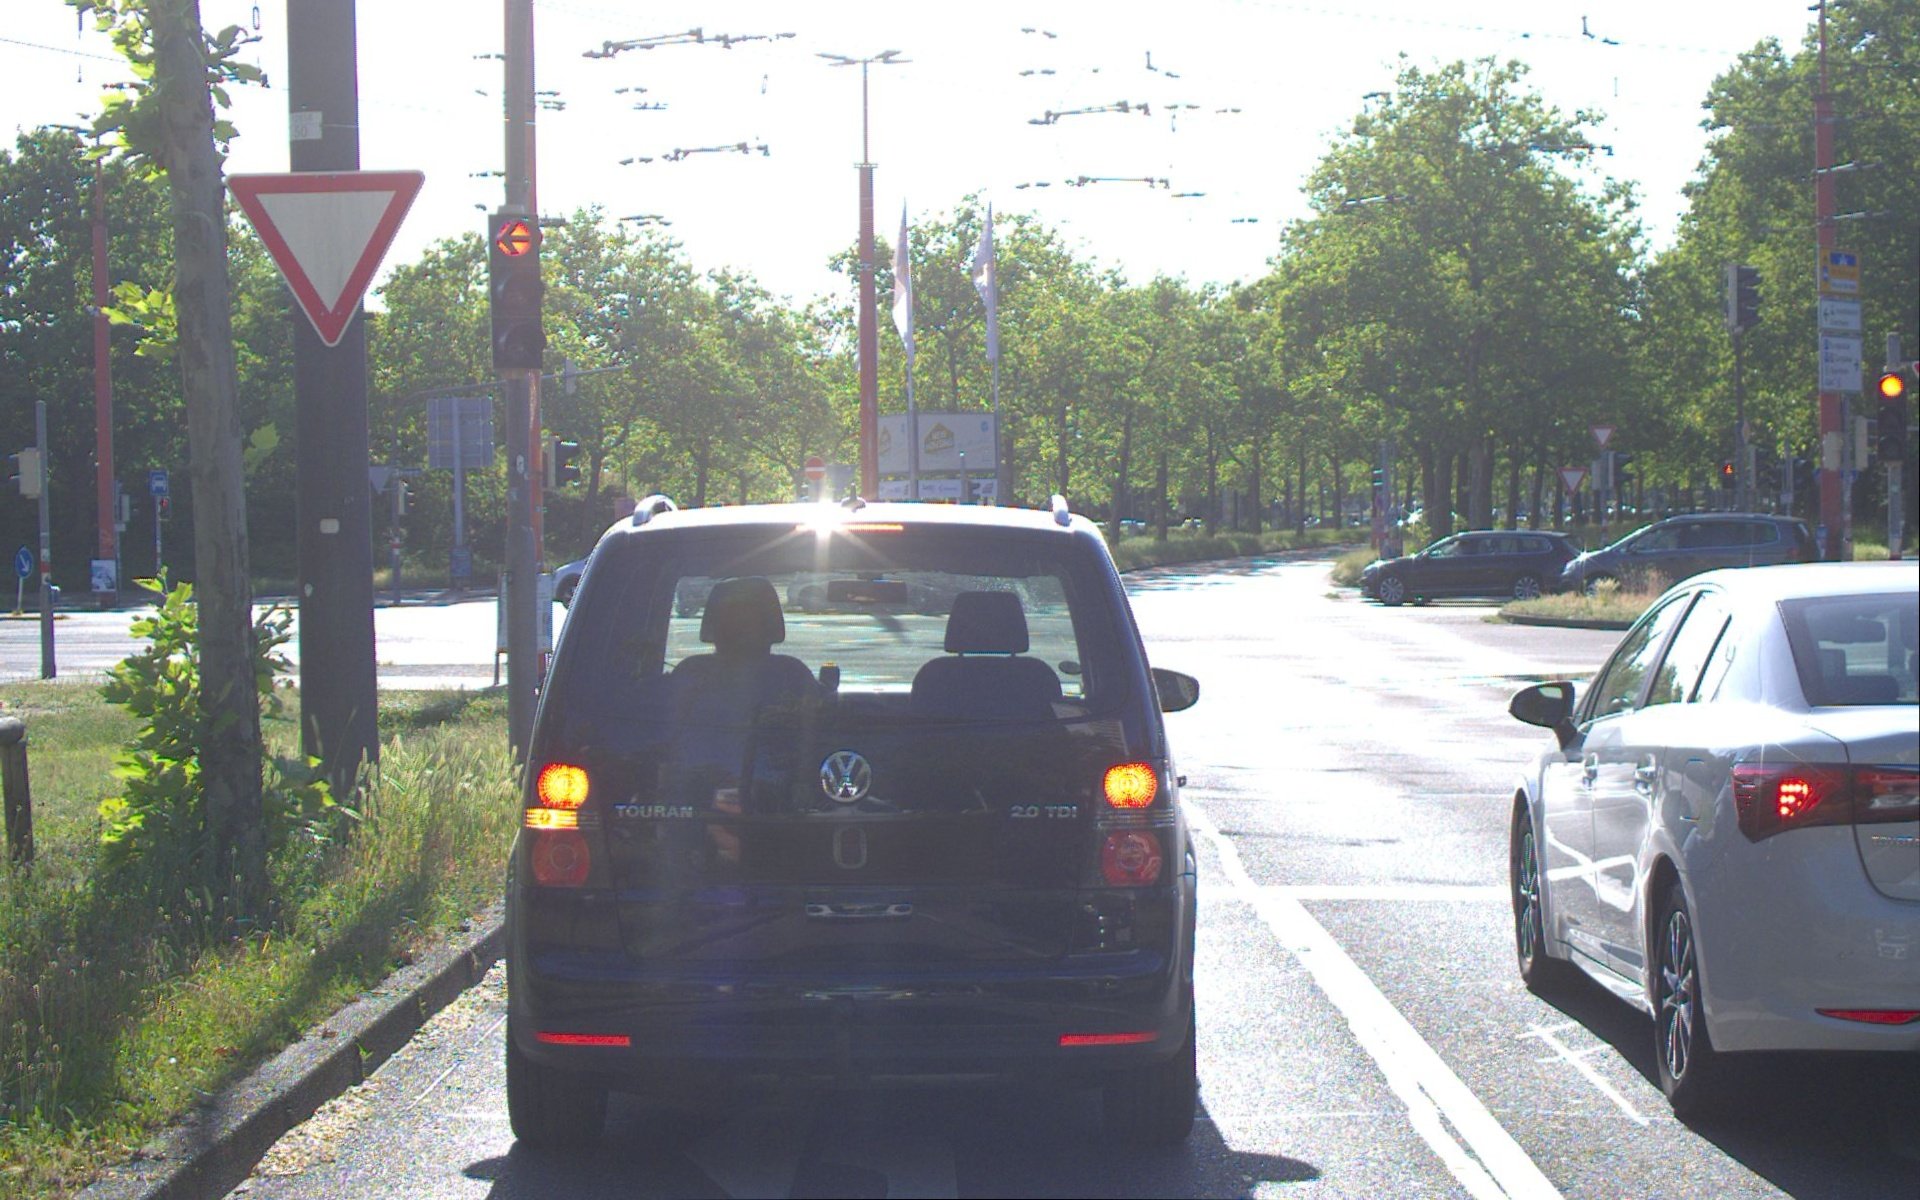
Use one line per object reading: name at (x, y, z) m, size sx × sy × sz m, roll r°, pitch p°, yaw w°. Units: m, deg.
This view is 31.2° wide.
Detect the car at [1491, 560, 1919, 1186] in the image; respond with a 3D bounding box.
car at (2.720, 0.619, 10.105) m, size 1.720 × 1.433 × 4.198 m, roll 1°, pitch 1°, yaw 1°

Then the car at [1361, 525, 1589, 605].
car at (10.284, -0.698, 68.710) m, size 4.127 × 1.505 × 1.820 m, roll 1°, pitch 1°, yaw 26°

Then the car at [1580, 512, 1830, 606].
car at (13.739, -0.758, 63.425) m, size 4.185 × 1.638 × 1.757 m, roll 1°, pitch 1°, yaw 27°

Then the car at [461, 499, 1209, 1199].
car at (-0.314, 0.546, 9.816) m, size 1.700 × 1.616 × 3.897 m, roll 0°, pitch 1°, yaw -1°

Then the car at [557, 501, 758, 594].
car at (-6.387, -1.108, 72.613) m, size 3.837 × 1.883 × 1.762 m, roll 1°, pitch 1°, yaw 23°

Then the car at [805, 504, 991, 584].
car at (-1.339, -1.205, 74.462) m, size 3.647 × 1.650 × 1.678 m, roll 1°, pitch 1°, yaw 25°
